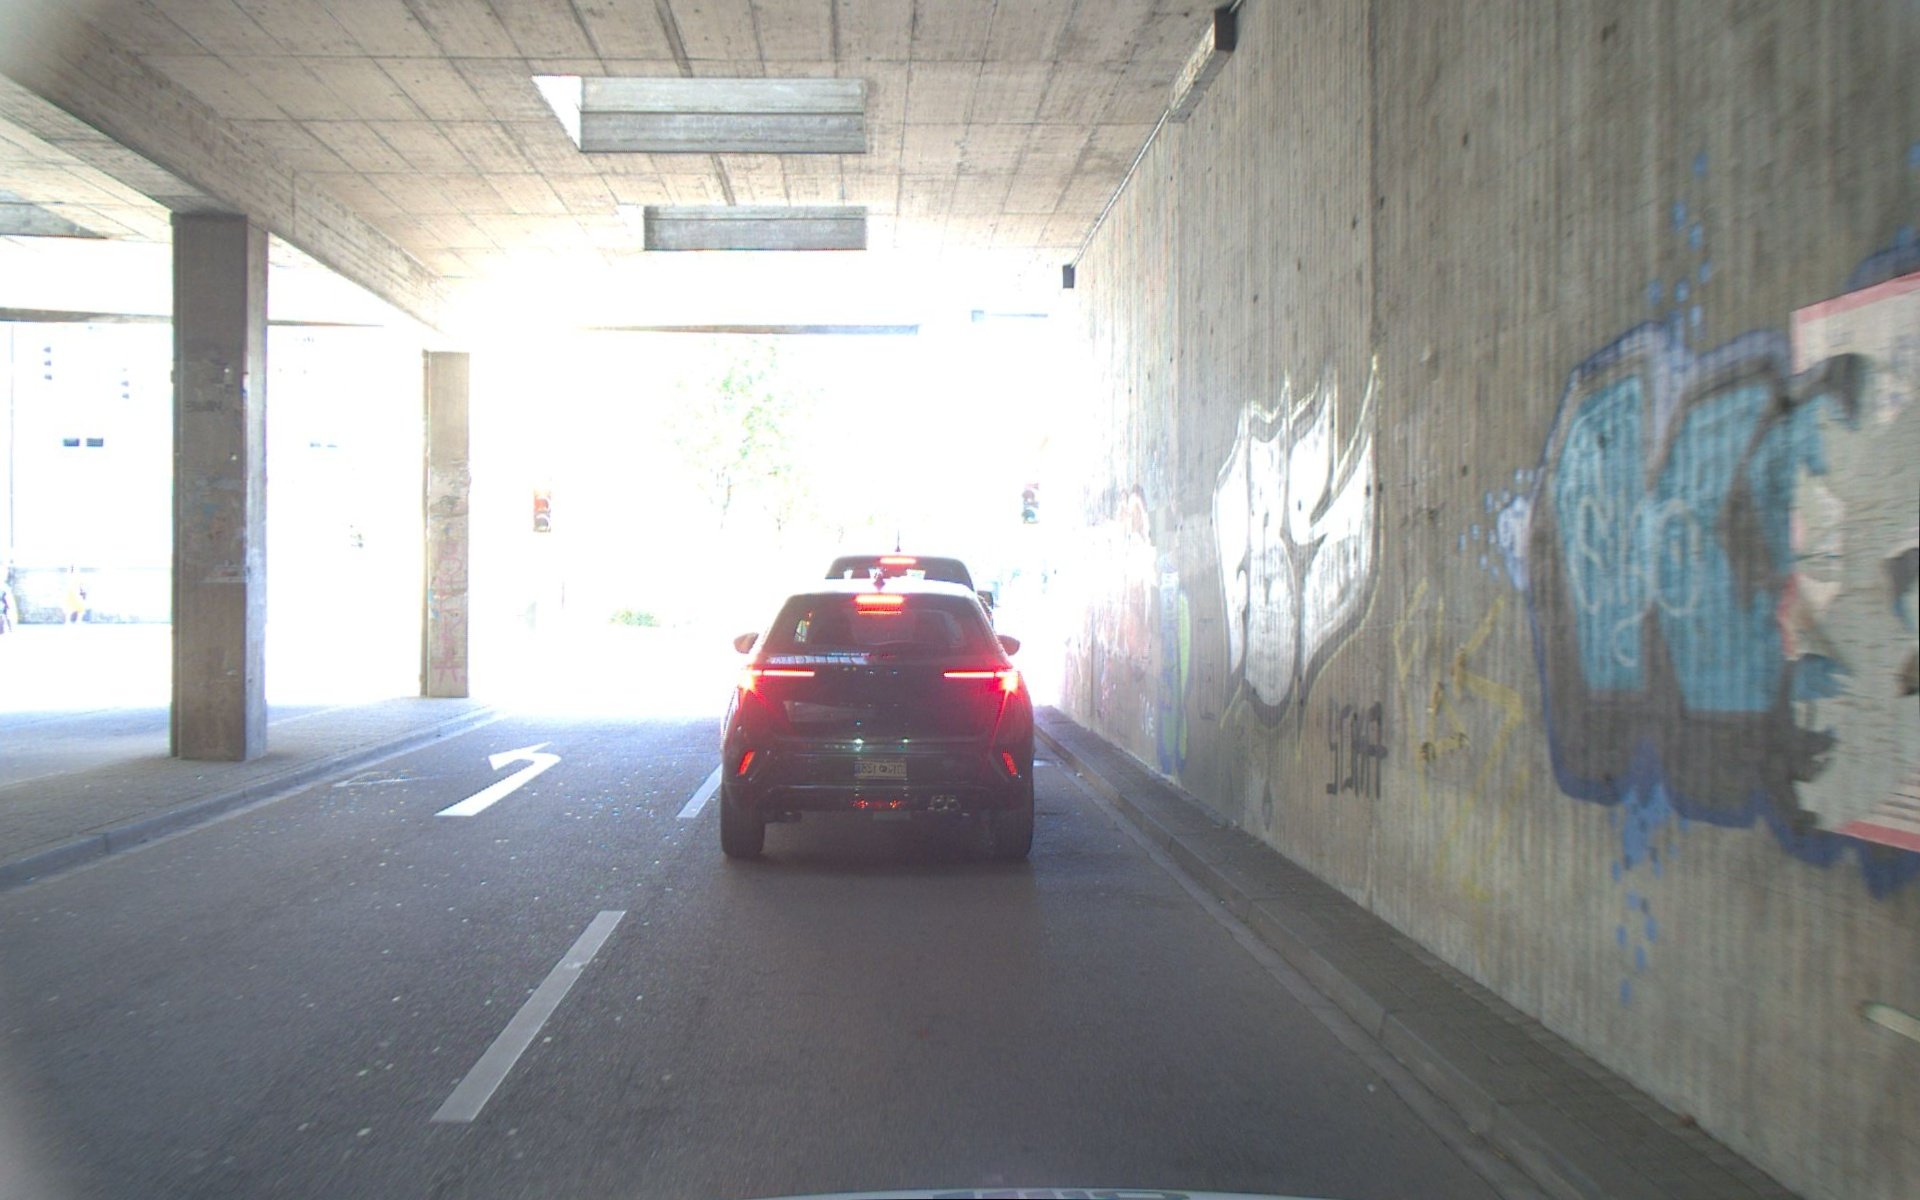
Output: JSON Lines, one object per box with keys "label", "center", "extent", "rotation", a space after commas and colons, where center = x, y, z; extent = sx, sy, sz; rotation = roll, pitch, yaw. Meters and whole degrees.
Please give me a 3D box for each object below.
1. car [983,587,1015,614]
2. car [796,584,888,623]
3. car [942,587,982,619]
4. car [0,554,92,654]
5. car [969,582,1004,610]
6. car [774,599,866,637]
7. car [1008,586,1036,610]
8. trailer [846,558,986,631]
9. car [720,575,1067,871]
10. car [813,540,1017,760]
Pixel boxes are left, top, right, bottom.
{"label": "car", "center": [3.041, 0.022, 128.722], "extent": [1.951, 2.049, 4.272], "rotation": [0, 0, 9]}
{"label": "car", "center": [-5.490, 0.138, 77.326], "extent": [4.063, 1.769, 2.001], "rotation": [0, 0, 4]}
{"label": "car", "center": [0.160, 0.165, 109.375], "extent": [1.951, 2.049, 4.272], "rotation": [0, 0, 9]}
{"label": "car", "center": [-21.517, 0.055, 35.773], "extent": [4.390, 2.048, 1.999], "rotation": [1, 2, -4]}
{"label": "car", "center": [1.937, -0.304, 119.669], "extent": [1.951, 2.049, 4.272], "rotation": [0, 0, 9]}
{"label": "car", "center": [-6.146, 0.787, 72.952], "extent": [3.905, 1.601, 1.640], "rotation": [0, 0, 1]}
{"label": "car", "center": [5.388, -0.187, 143.155], "extent": [1.951, 2.049, 4.272], "rotation": [0, 0, 9]}
{"label": "trailer", "center": [-1.221, -0.160, 47.631], "extent": [3.904, 2.049, 2.001], "rotation": [0, 0, 1]}
{"label": "car", "center": [-0.435, 0.620, 10.686], "extent": [1.789, 1.527, 4.209], "rotation": [0, 0, -3]}
{"label": "car", "center": [-0.522, 0.416, 16.802], "extent": [1.779, 1.915, 4.582], "rotation": [0, 0, -3]}
